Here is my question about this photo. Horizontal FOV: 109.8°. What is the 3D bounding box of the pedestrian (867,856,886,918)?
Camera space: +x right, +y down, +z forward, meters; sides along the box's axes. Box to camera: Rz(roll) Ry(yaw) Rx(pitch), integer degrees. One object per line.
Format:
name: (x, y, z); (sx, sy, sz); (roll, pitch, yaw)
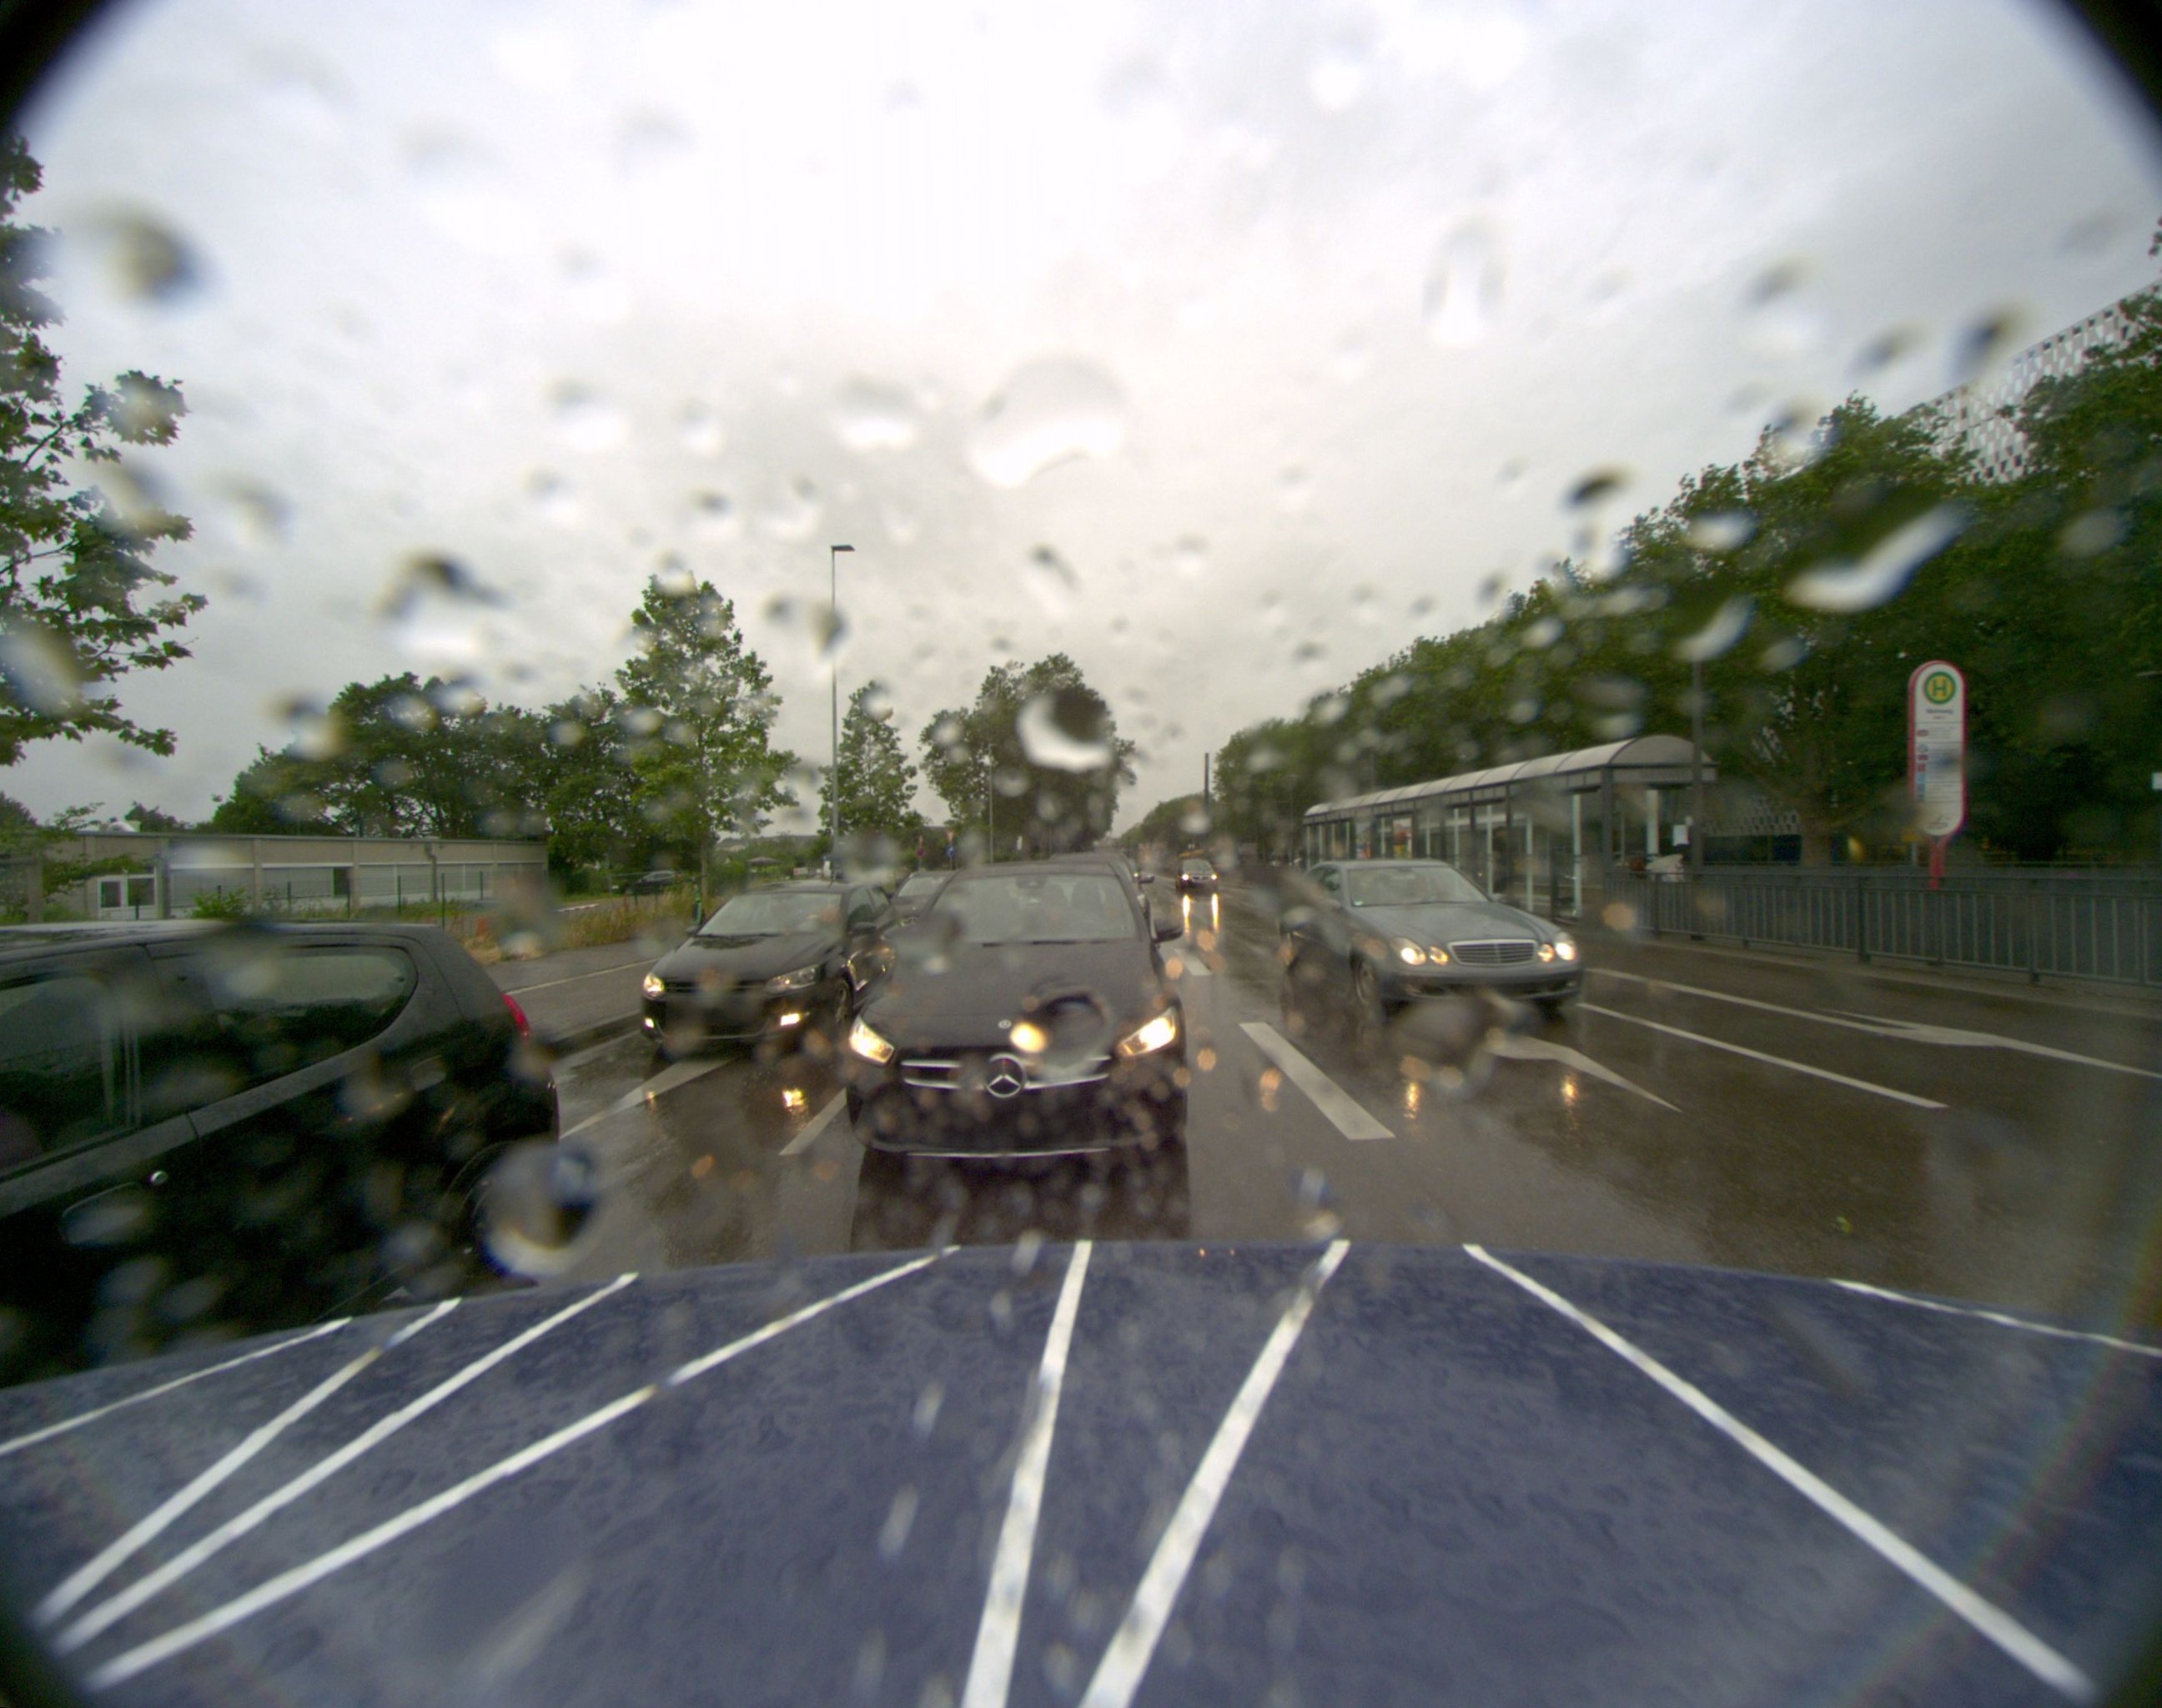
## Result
pedestrian: (-5.591, 0.897, 20.785); (0.401, 1.652, 0.441); (1, 1, 0)

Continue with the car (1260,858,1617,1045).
car: (3.426, 0.794, 8.434); (1.767, 1.390, 4.644); (-2, 0, 0)

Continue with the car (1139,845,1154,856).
car: (9.754, -0.518, 113.732); (1.794, 1.597, 3.999); (-2, 1, 0)

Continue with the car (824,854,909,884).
car: (-13.488, 0.935, 48.093); (4.759, 1.640, 1.999); (-2, 1, -2)

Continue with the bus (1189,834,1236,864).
bus: (15.998, -0.641, 93.809); (2.939, 3.310, 15.060); (-2, 1, -1)

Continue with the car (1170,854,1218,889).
car: (5.438, 0.804, 37.054); (1.775, 1.492, 4.597); (-2, 1, 2)

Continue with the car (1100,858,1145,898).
car: (1.844, 1.040, 35.046); (1.794, 1.597, 3.999); (-2, 1, 0)

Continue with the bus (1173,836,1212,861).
bus: (15.766, -0.829, 108.951); (2.939, 3.310, 15.059); (-2, 1, -1)

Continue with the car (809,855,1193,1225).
car: (-0.335, 0.859, 5.547); (1.690, 1.578, 4.163); (-2, 1, 1)

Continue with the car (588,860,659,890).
car: (-33.963, 1.512, 56.527); (3.996, 2.002, 2.000); (-2, 1, 2)

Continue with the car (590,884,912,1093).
car: (-2.954, 1.114, 7.694); (1.633, 1.420, 3.624); (-2, 0, 0)

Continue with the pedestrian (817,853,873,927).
pedestrian: (-5.735, 0.846, 18.520); (1.082, 1.746, 0.969); (0, 1, 0)

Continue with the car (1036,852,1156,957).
car: (0.204, 0.723, 12.537); (1.633, 1.420, 3.624); (-2, 0, 0)

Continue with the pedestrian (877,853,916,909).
pedestrian: (-5.850, 0.845, 24.124); (1.025, 1.698, 0.891); (1, 1, 0)

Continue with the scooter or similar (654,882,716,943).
scooter or similar: (-8.210, 1.182, 15.817); (0.381, 1.123, 1.777); (0, 1, -1)

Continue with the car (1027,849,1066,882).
car: (-1.616, 0.522, 36.981); (1.703, 1.461, 4.121); (-2, 1, 0)

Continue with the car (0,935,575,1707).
car: (-3.009, 1.081, 1.437); (1.633, 1.420, 3.624); (-2, 0, 0)

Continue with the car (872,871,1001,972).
car: (-2.694, 1.209, 15.007); (1.698, 1.565, 3.813); (-2, 1, 1)
